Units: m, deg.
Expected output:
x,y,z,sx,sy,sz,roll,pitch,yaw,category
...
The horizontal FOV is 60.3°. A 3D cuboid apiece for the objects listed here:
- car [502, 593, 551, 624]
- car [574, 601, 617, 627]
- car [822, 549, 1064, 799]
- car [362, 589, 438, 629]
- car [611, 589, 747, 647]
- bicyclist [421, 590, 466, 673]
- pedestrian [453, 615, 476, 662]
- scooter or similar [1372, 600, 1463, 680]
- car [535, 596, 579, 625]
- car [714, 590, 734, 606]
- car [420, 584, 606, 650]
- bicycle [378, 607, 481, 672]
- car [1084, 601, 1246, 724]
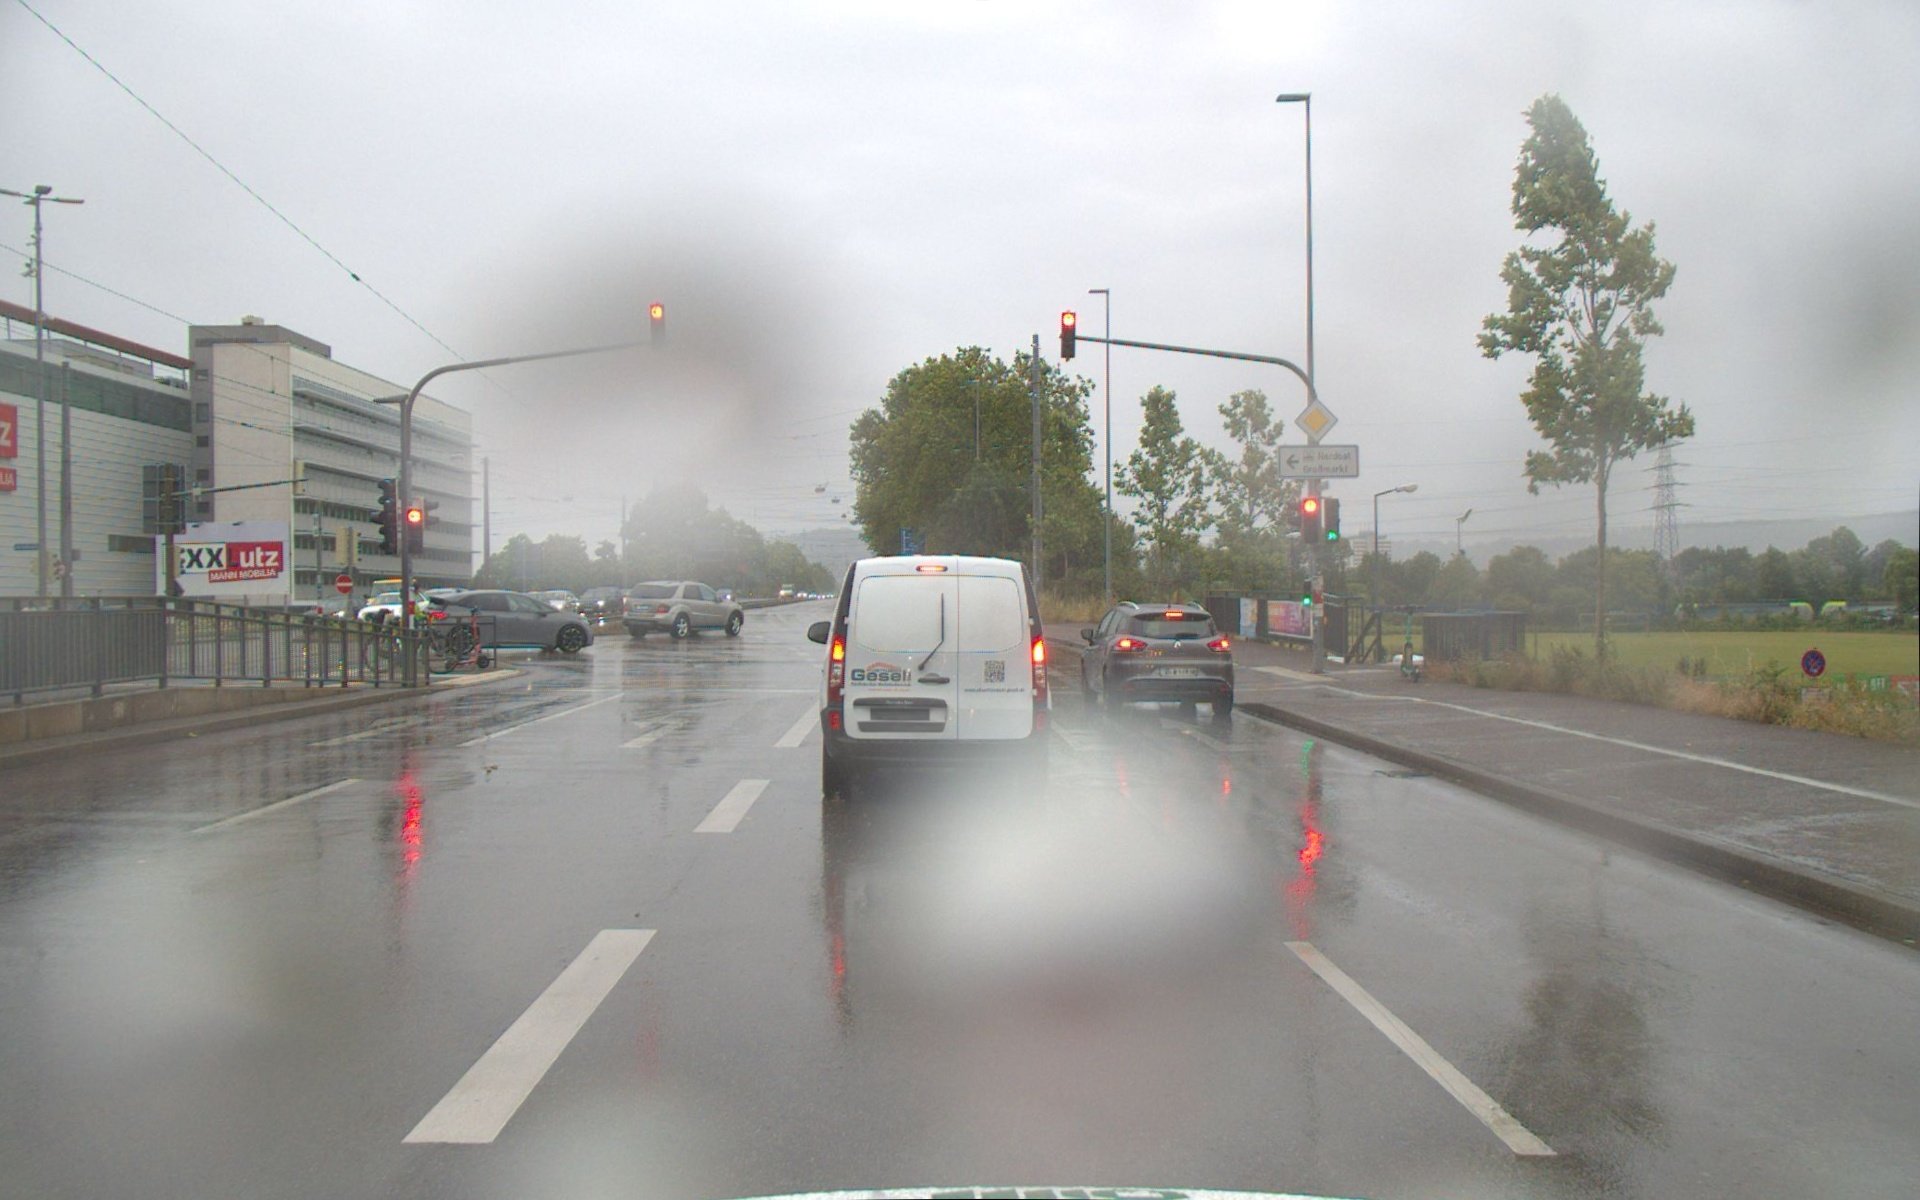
x,y,z,sx,sy,sz,roll,pitch,yaw,category
-22.113,0.445,84.466,1.528,1.451,3.567,2,-1,-1,car
-21.625,0.828,98.270,1.676,1.451,3.808,2,-1,-1,car
-0.269,0.506,13.924,1.719,1.780,4.165,1,1,-4,car
-21.716,0.366,64.251,1.676,1.451,3.808,2,-1,-1,car
-8.940,0.605,52.977,1.911,1.691,4.456,1,-2,29,car
-9.613,0.586,30.779,0.600,1.517,0.591,2,-1,-41,bicyclist
-9.818,0.762,32.774,0.309,0.913,0.380,2,0,-3,pedestrian
7.517,0.625,27.351,0.676,1.232,3.020,-1,0,0,scooter or similar
-22.154,0.594,90.951,1.528,1.451,3.567,2,-1,-1,car
-23.413,-0.190,164.079,1.528,1.451,3.567,2,-1,-1,car
-11.098,0.443,41.174,4.147,1.476,1.697,3,-2,-34,car
-9.809,0.731,30.611,1.745,1.157,0.512,1,-1,-43,bicycle
2.755,0.810,23.011,1.650,1.534,3.919,1,0,-2,car
